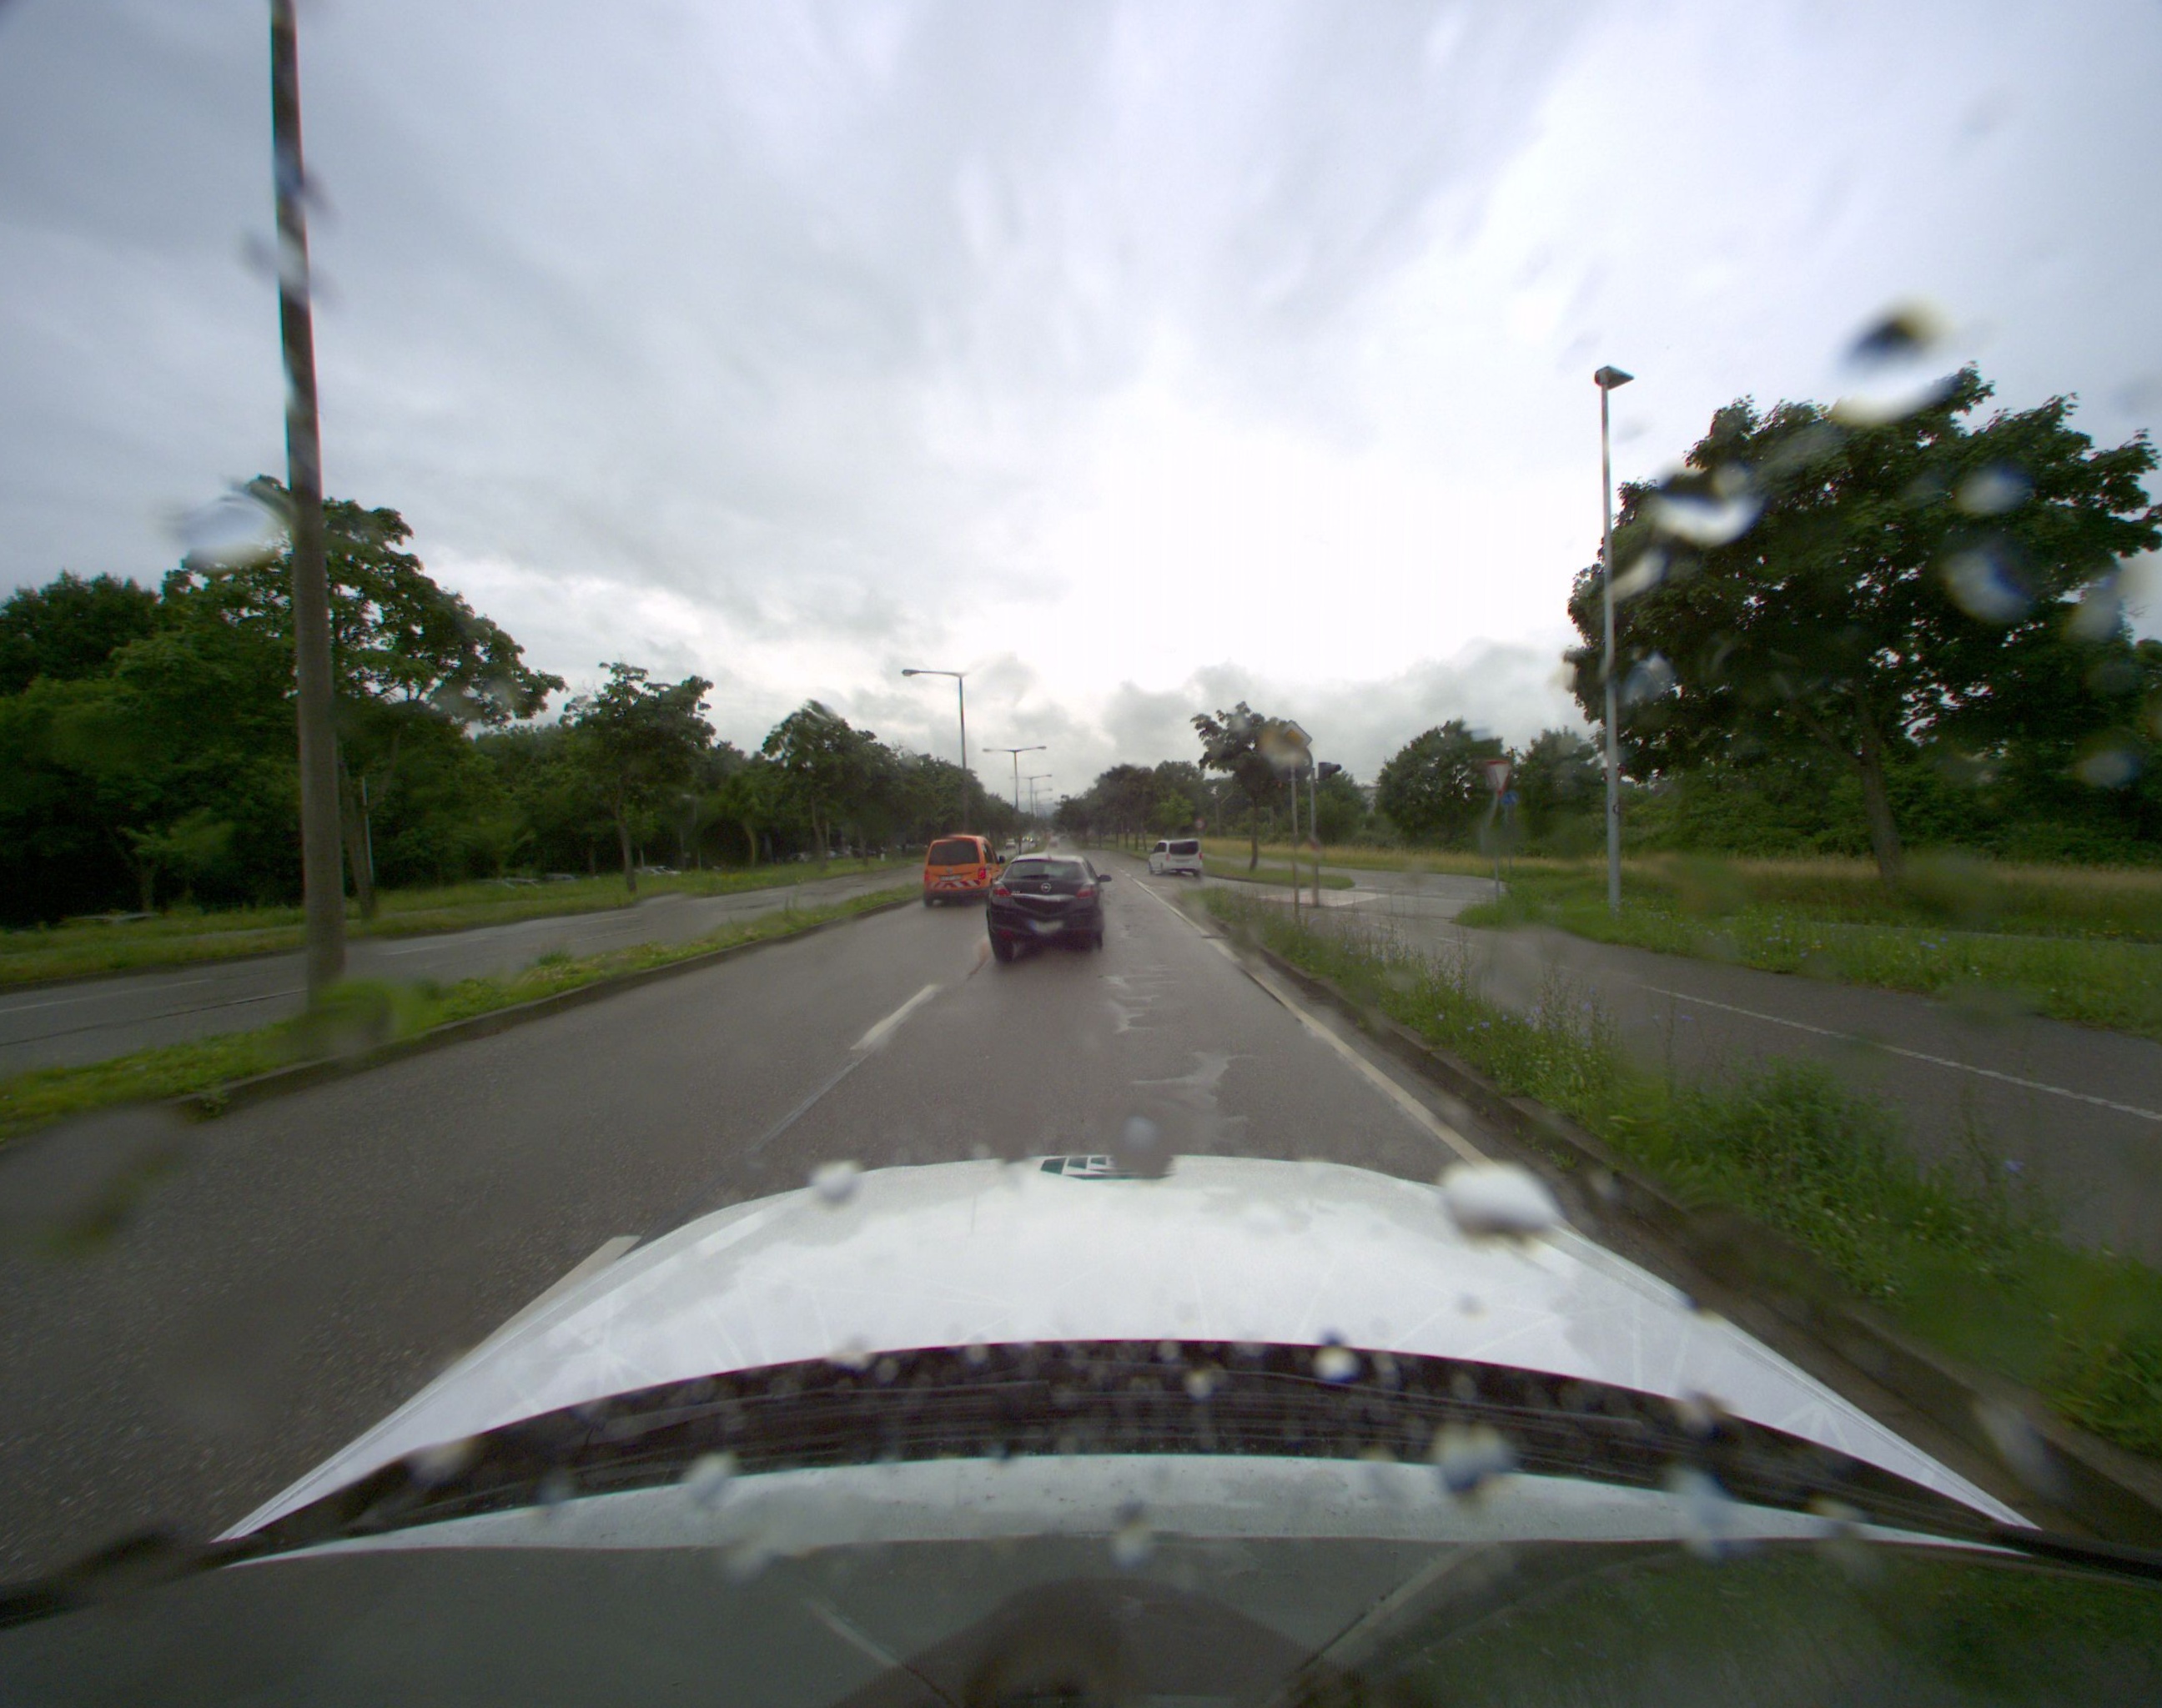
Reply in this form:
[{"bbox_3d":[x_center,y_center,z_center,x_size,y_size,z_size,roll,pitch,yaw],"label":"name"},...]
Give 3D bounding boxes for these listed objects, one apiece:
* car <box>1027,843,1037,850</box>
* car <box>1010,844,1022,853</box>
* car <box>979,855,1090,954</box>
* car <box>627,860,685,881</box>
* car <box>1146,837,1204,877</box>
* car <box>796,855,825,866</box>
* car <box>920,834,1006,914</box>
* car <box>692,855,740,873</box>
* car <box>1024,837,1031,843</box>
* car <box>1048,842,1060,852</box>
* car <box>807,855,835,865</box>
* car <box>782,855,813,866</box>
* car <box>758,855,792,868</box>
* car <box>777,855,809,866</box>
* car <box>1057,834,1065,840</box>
[{"bbox_3d":[-11.179,-1.769,186.062,1.821,1.450,3.808,-2,1,0],"label":"car"},{"bbox_3d":[-11.786,-0.942,147.913,1.677,1.554,4.001,-1,0,1],"label":"car"},{"bbox_3d":[-0.648,0.728,13.534,1.457,1.328,3.760,-1,1,2],"label":"car"},{"bbox_3d":[-37.511,1.446,71.991,3.981,1.618,1.996,-2,1,-6],"label":"car"},{"bbox_3d":[4.926,0.132,43.395,2.057,1.974,4.597,-1,0,-7],"label":"car"},{"bbox_3d":[-39.797,0.888,119.882,3.830,1.452,1.522,-2,1,-6],"label":"car"},{"bbox_3d":[-3.179,0.478,22.900,1.729,2.018,4.848,0,1,0],"label":"car"},{"bbox_3d":[-37.729,1.020,84.287,3.981,1.640,1.908,-2,1,-6],"label":"car"},{"bbox_3d":[-14.217,-3.788,217.204,1.715,1.529,3.809,-2,2,0],"label":"car"},{"bbox_3d":[-5.249,-1.372,159.175,1.986,1.879,4.002,-1,0,2],"label":"car"},{"bbox_3d":[-39.842,0.918,124.899,3.830,1.452,1.522,-2,1,-6],"label":"car"},{"bbox_3d":[-39.883,0.901,114.679,3.830,1.452,1.522,-2,1,-6],"label":"car"},{"bbox_3d":[-39.251,0.947,104.379,3.729,1.426,1.485,-2,1,-6],"label":"car"},{"bbox_3d":[-39.648,0.892,112.007,3.830,1.452,1.522,-2,1,-6],"label":"car"},{"bbox_3d":[-6.381,-5.452,261.443,2.509,2.052,5.290,-1,0,-1],"label":"car"}]
